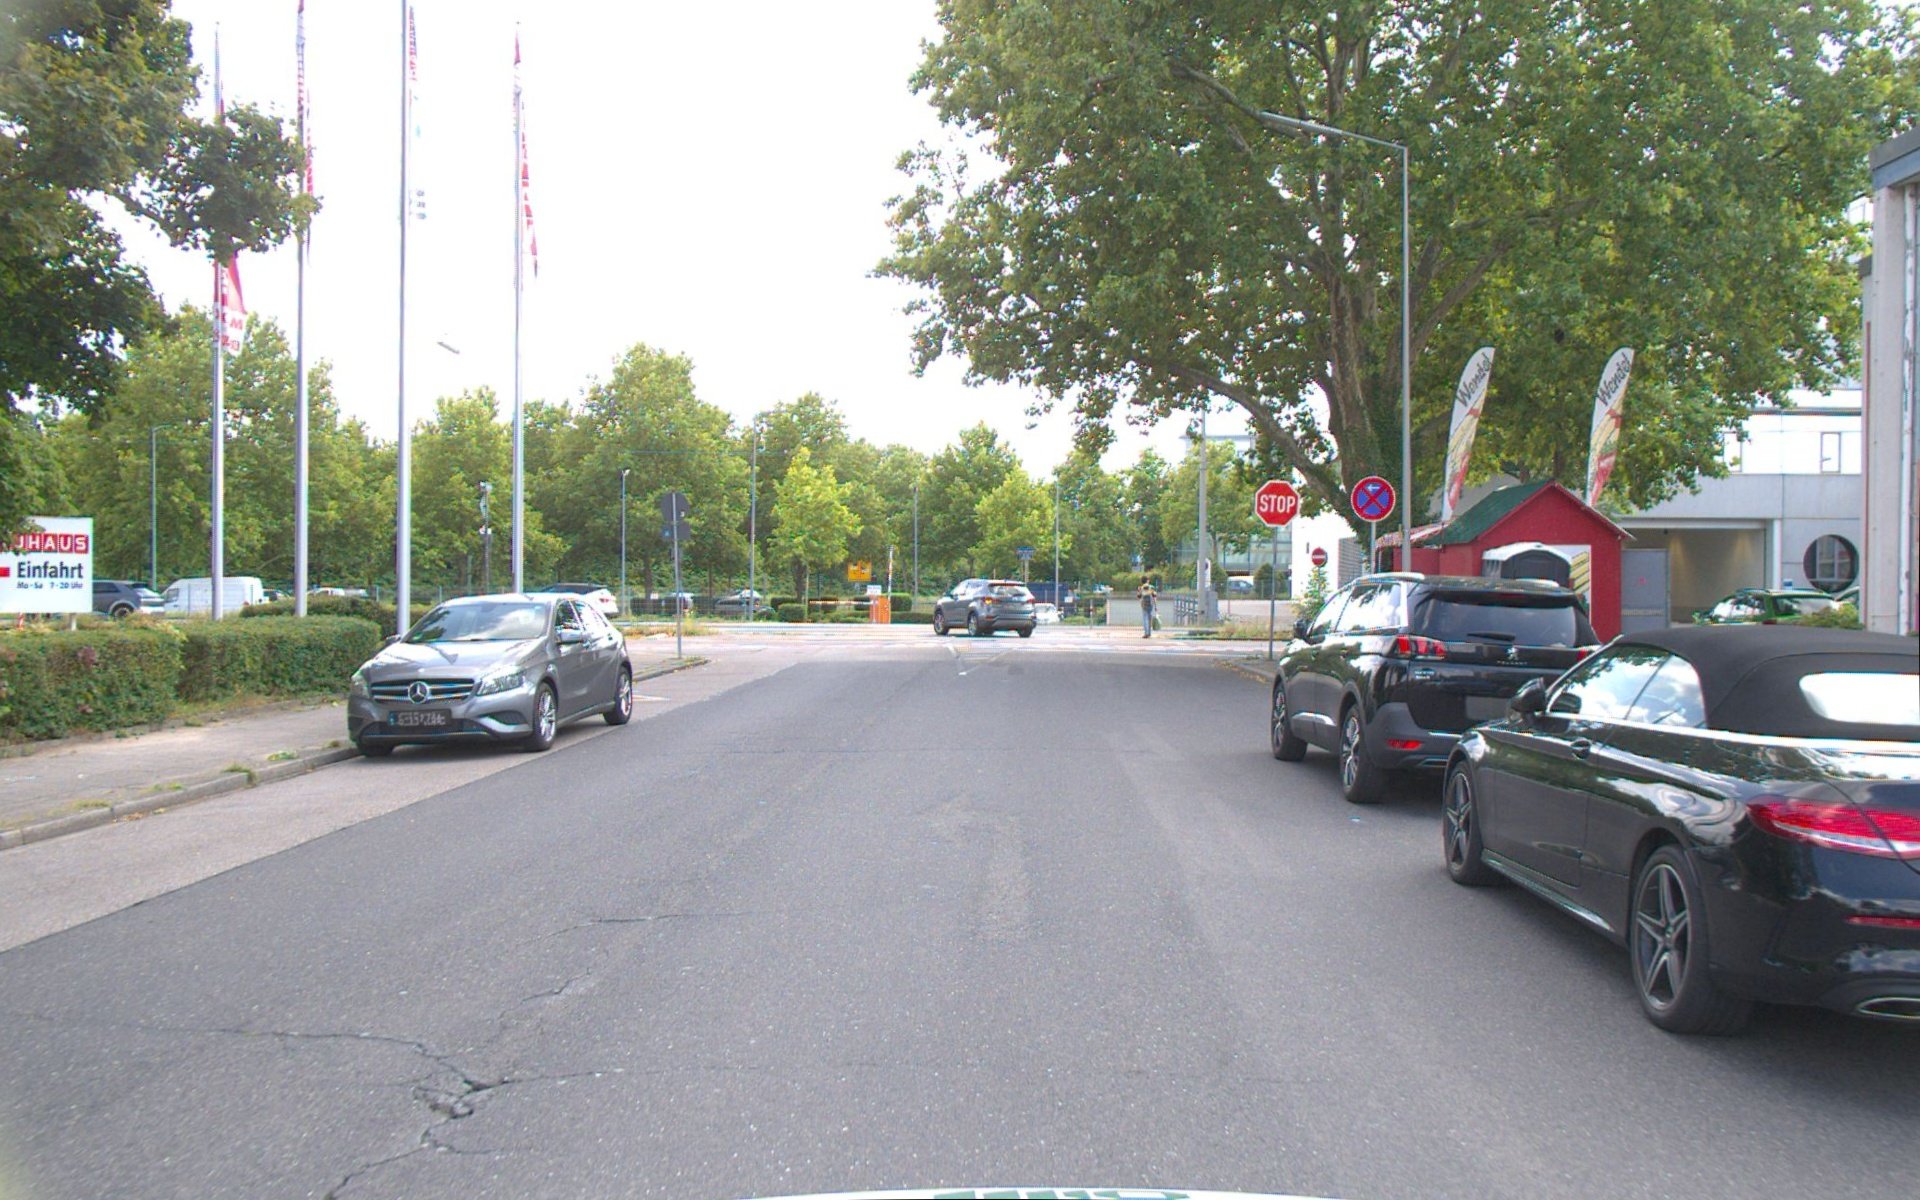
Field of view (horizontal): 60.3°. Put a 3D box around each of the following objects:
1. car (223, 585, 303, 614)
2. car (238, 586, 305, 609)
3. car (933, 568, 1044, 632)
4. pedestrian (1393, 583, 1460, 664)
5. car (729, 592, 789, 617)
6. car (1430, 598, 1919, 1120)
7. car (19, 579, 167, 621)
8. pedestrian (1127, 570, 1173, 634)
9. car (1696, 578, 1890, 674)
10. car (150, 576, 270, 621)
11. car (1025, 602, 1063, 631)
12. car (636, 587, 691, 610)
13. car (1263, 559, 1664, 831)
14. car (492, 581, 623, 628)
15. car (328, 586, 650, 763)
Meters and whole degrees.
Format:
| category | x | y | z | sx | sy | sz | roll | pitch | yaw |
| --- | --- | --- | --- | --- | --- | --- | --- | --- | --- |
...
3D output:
| category | x | y | z | sx | sy | sz | roll | pitch | yaw |
| --- | --- | --- | --- | --- | --- | --- | --- | --- | --- |
| car | -43.642 | -0.013 | 103.663 | 1.881 | 1.751 | 4.285 | 1 | 0 | 34 |
| car | -47.790 | -0.182 | 114.876 | 1.836 | 1.584 | 3.987 | 1 | 0 | 34 |
| car | 0.801 | -0.020 | 49.991 | 1.934 | 1.847 | 4.249 | 0 | 1 | -21 |
| pedestrian | 7.852 | 0.384 | 27.869 | 0.992 | 1.337 | 0.965 | 1 | 0 | 10 |
| car | -14.123 | 0.312 | 116.112 | 3.917 | 1.731 | 1.904 | 1 | 0 | 34 |
| car | 3.426 | 0.772 | 6.956 | 1.770 | 1.415 | 4.590 | 3 | 1 | 3 |
| car | -30.243 | -0.012 | 57.775 | 4.133 | 1.430 | 1.924 | 0 | 1 | 0 |
| pedestrian | 5.701 | 0.056 | 49.694 | 0.984 | 1.881 | 1.224 | 1 | 0 | -16 |
| car | 14.430 | 0.404 | 28.895 | 1.702 | 1.538 | 4.003 | 0 | 1 | 6 |
| car | -37.670 | -0.075 | 83.122 | 5.179 | 2.250 | 1.797 | 0 | 0 | -1 |
| car | 4.283 | 0.831 | 84.559 | 1.890 | 1.427 | 4.082 | 0 | 0 | 3 |
| car | -23.607 | -0.097 | 131.853 | 1.881 | 1.751 | 4.285 | 1 | 0 | 34 |
| car | 3.730 | 0.593 | 13.180 | 1.771 | 1.694 | 4.641 | 3 | 1 | 1 |
| car | -14.164 | 0.154 | 58.390 | 4.133 | 1.607 | 1.924 | 0 | 1 | 0 |
| car | -4.464 | 0.622 | 16.392 | 1.674 | 1.444 | 4.333 | -2 | 0 | 3 |
